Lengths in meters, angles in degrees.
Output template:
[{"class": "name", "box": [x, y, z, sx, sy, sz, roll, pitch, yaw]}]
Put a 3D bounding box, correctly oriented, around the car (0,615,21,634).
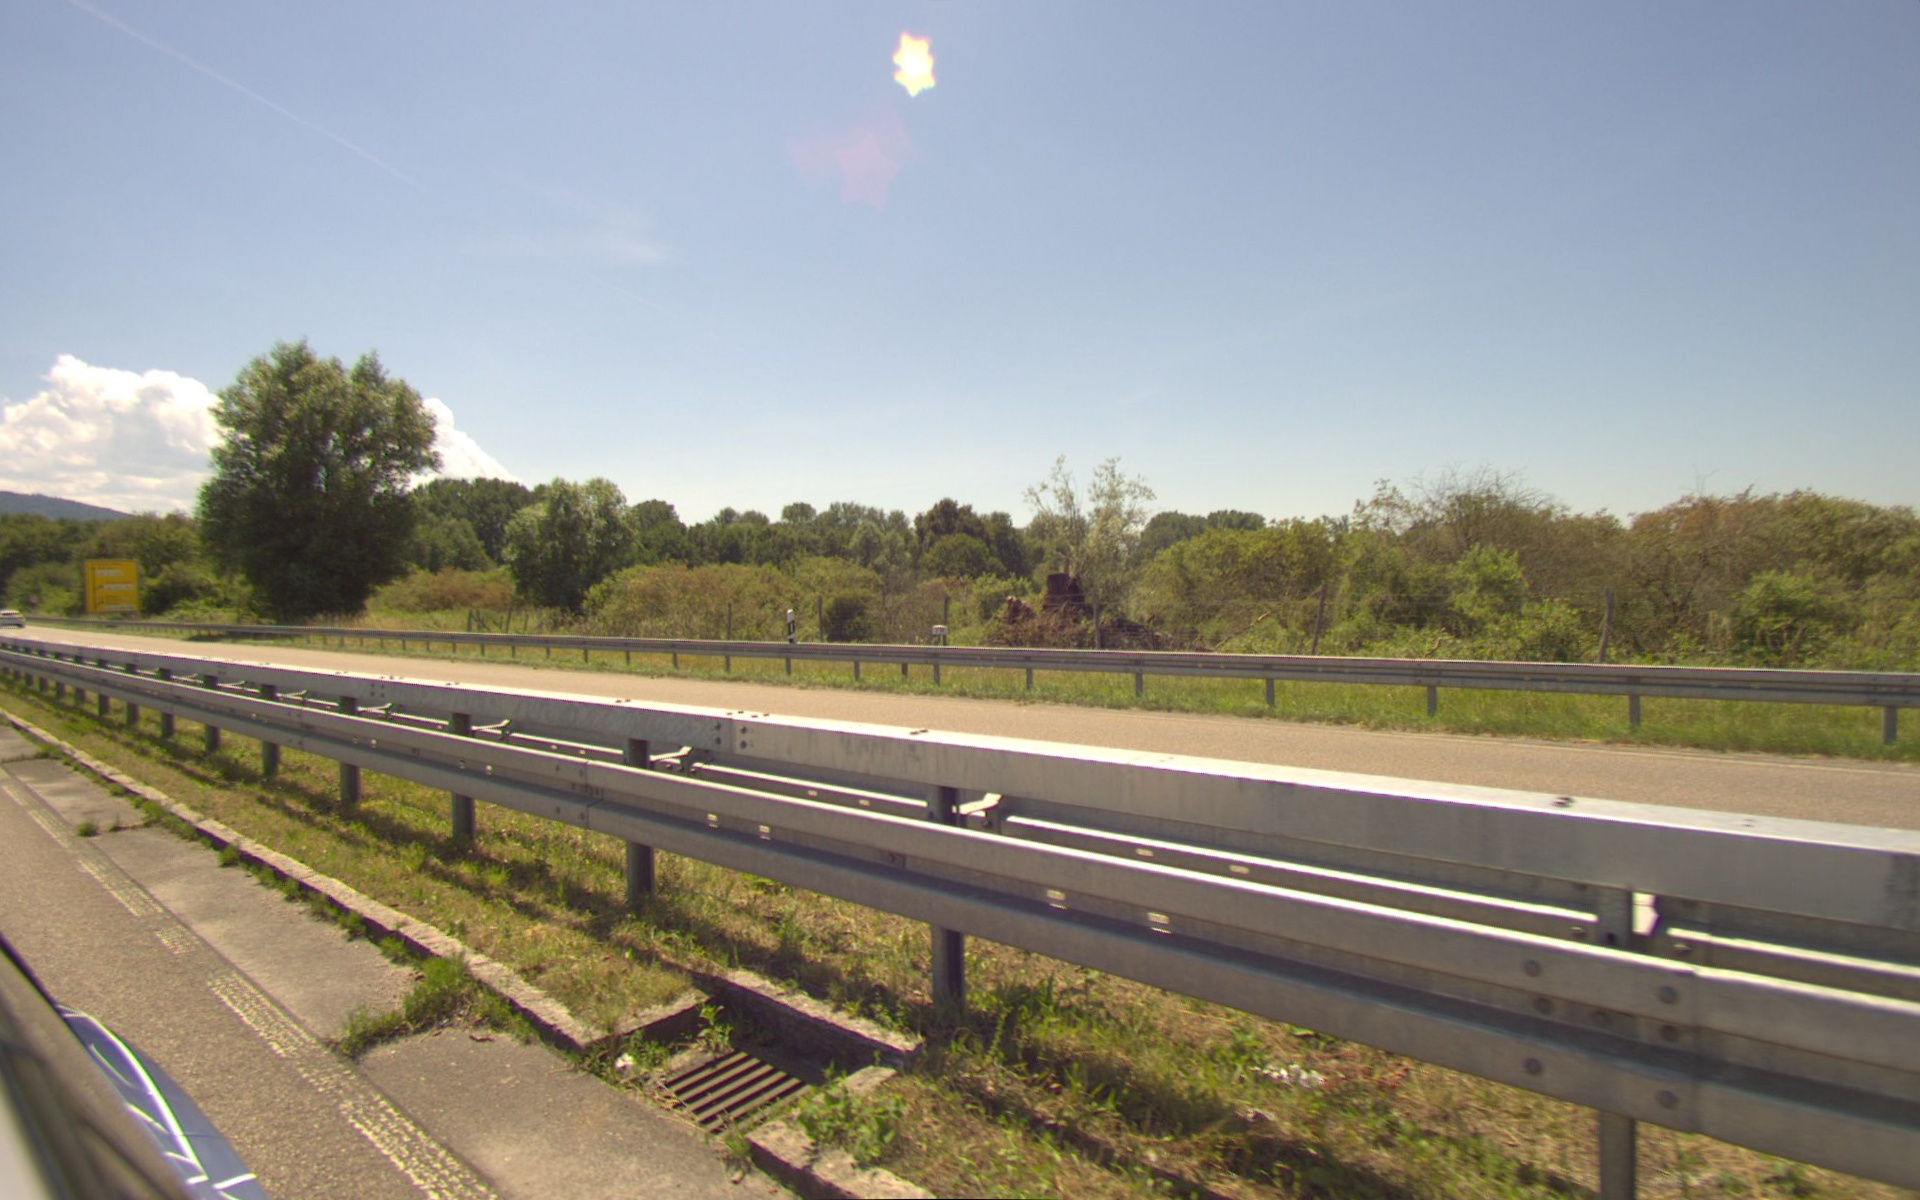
[{"class": "car", "box": [-78.873, 2.007, 83.338, 4.101, 1.509, 1.808, -1, 1, 41]}]
